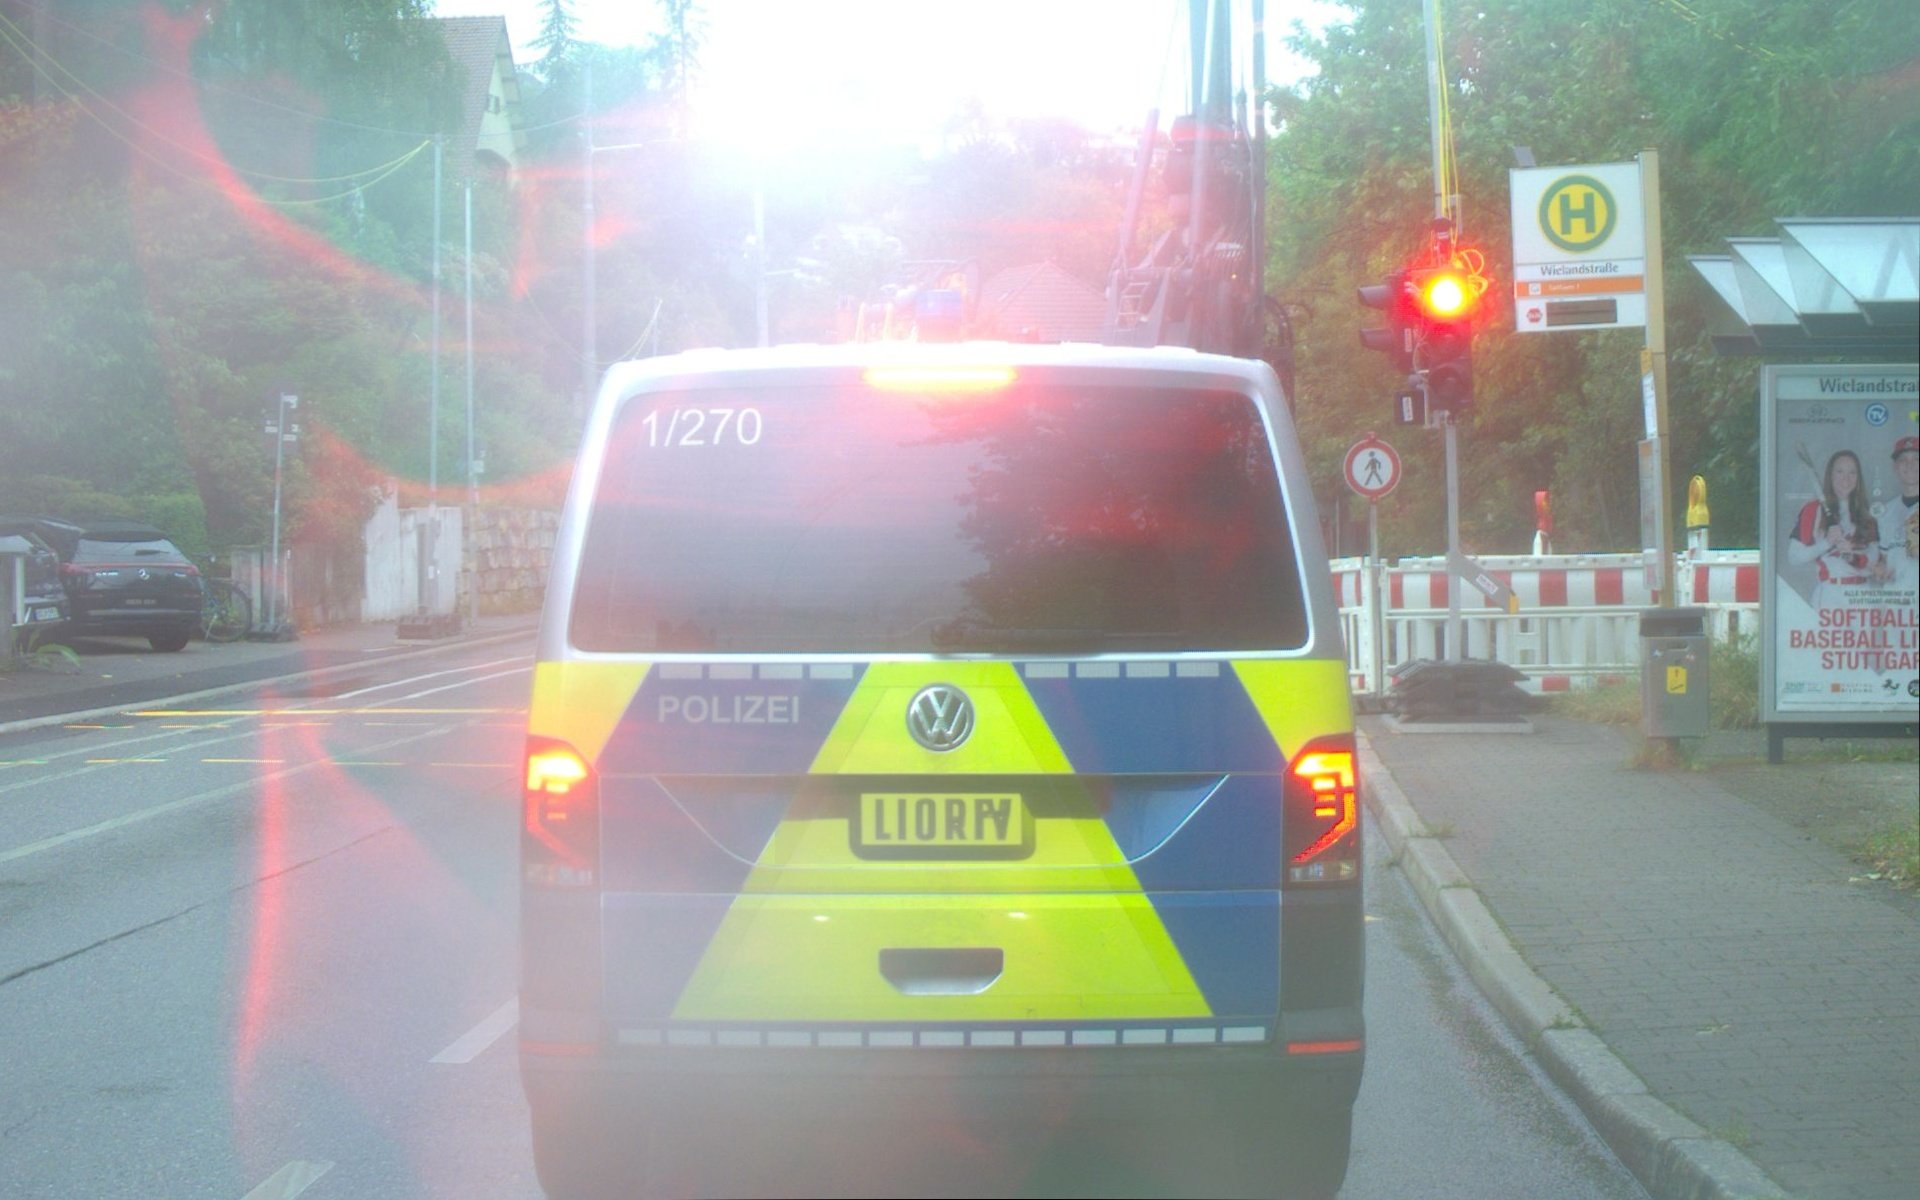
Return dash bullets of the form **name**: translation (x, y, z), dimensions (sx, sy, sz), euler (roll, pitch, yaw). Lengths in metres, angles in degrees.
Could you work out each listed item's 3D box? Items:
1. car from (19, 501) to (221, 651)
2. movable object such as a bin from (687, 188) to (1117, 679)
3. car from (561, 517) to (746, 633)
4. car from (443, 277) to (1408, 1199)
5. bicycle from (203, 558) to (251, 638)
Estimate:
- **car**: translation (-9.326, -0.292, 37.980), dimensions (1.765, 1.481, 3.743), euler (1, 3, -20)
- **movable object such as a bin**: translation (-0.423, -1.470, 31.636), dimensions (2.832, 4.163, 4.378), euler (1, 1, 15)
- **car**: translation (-4.259, -0.360, 48.526), dimensions (1.853, 1.522, 4.819), euler (1, 1, 4)
- **car**: translation (-0.094, 0.352, 8.837), dimensions (1.893, 2.043, 4.000), euler (1, 1, -1)
- **bicycle**: translation (-8.445, -0.033, 39.597), dimensions (0.462, 0.894, 1.634), euler (0, 1, -15)
